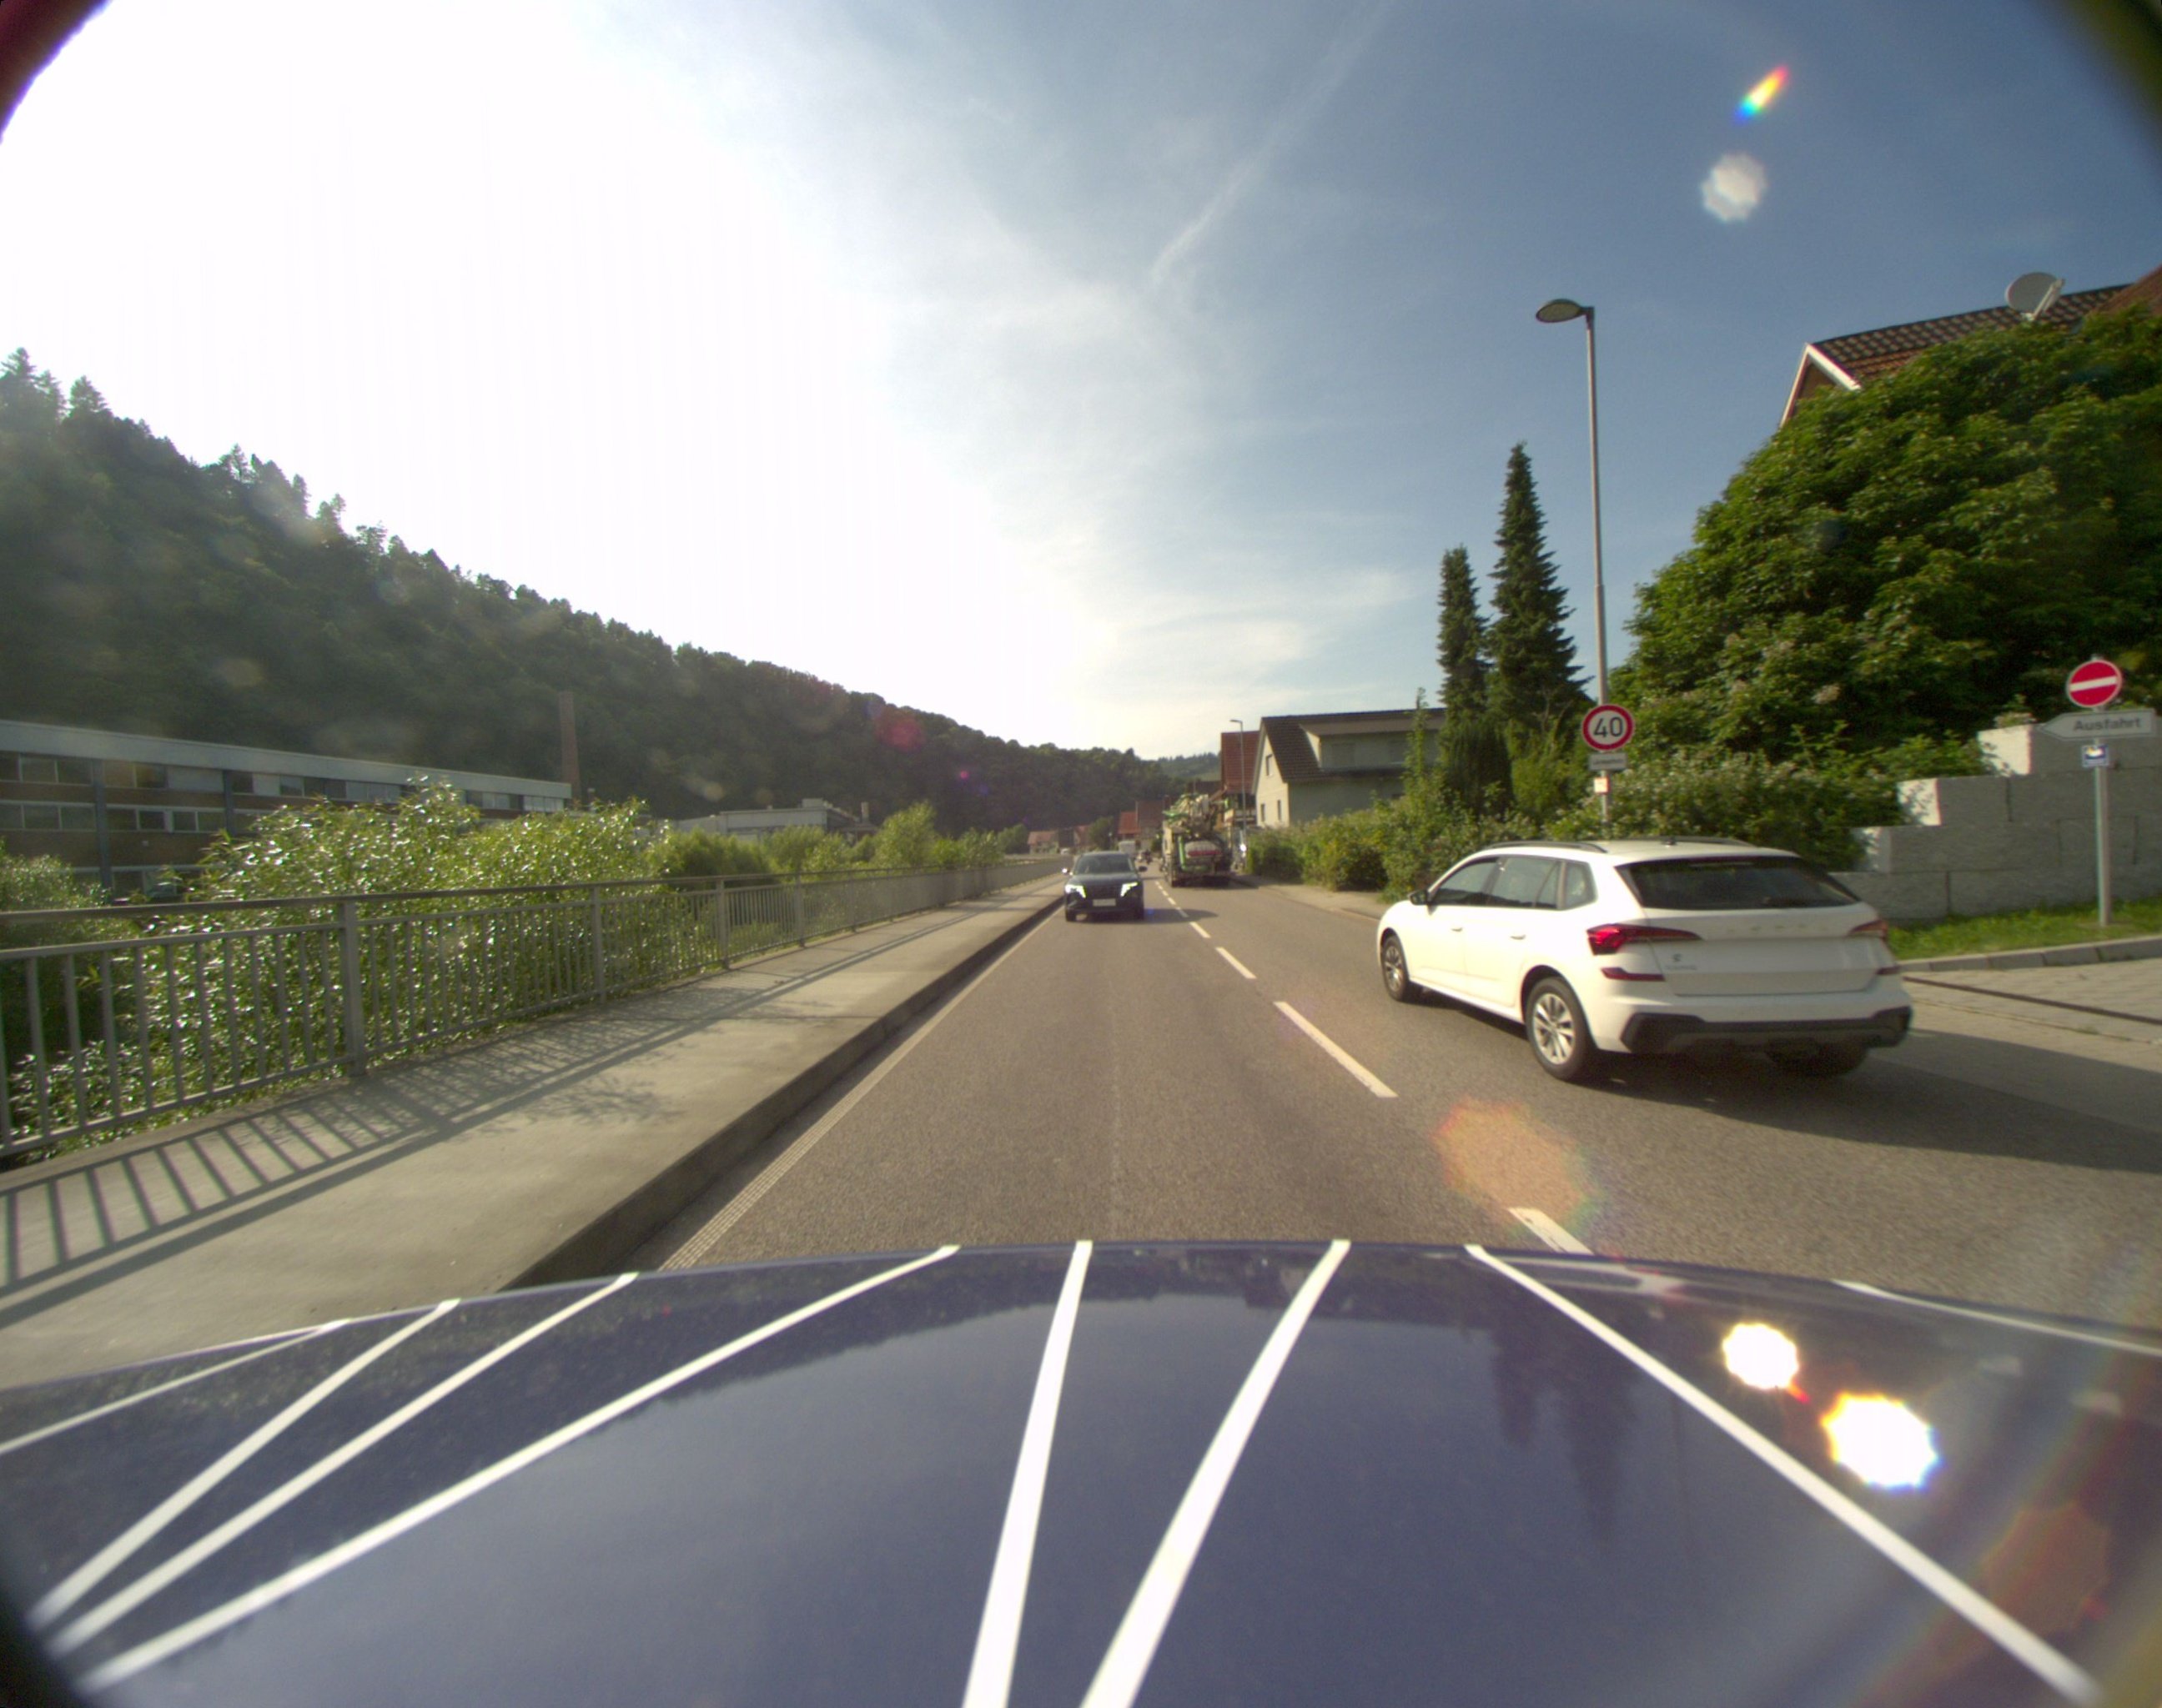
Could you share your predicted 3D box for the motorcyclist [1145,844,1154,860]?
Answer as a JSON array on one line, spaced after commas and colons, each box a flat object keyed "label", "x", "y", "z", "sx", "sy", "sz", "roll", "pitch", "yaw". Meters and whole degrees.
[{"label": "motorcyclist", "x": 7.137, "y": -0.211, "z": 79.601, "sx": 0.827, "sy": 1.549, "sz": 0.628, "roll": -3, "pitch": 2, "yaw": 7}]

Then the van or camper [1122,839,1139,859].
[{"label": "van or camper", "x": 7.595, "y": -0.736, "z": 117.370, "sx": 2.200, "sy": 2.921, "sz": 7.127, "roll": -4, "pitch": 0, "yaw": 2}]

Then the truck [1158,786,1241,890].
[{"label": "truck", "x": 5.162, "y": -0.666, "z": 35.001, "sx": 2.584, "sy": 3.909, "sz": 11.307, "roll": -2, "pitch": 1, "yaw": 4}]

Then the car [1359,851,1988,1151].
[{"label": "car", "x": 3.805, "y": 0.751, "z": 5.996, "sx": 1.753, "sy": 1.495, "sz": 4.190, "roll": -2, "pitch": 0, "yaw": 1}]

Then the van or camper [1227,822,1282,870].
[{"label": "van or camper", "x": 10.094, "y": -0.479, "z": 44.658, "sx": 2.153, "sy": 2.540, "sz": 5.902, "roll": -3, "pitch": 1, "yaw": 4}]

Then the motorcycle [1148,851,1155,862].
[{"label": "motorcycle", "x": 7.459, "y": 0.290, "z": 80.013, "sx": 0.655, "sy": 1.062, "sz": 2.182, "roll": -3, "pitch": 1, "yaw": 6}]

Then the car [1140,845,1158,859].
[{"label": "car", "x": 8.471, "y": -0.266, "z": 94.121, "sx": 1.633, "sy": 1.476, "sz": 4.002, "roll": -5, "pitch": 1, "yaw": 12}]

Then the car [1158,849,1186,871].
[{"label": "car", "x": 6.603, "y": 0.388, "z": 55.264, "sx": 1.717, "sy": 1.395, "sz": 4.000, "roll": -3, "pitch": 1, "yaw": 4}]

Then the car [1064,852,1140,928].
[{"label": "car", "x": 0.462, "y": 0.795, "z": 19.006, "sx": 1.649, "sy": 1.639, "sz": 3.999, "roll": -2, "pitch": 0, "yaw": 0}]
